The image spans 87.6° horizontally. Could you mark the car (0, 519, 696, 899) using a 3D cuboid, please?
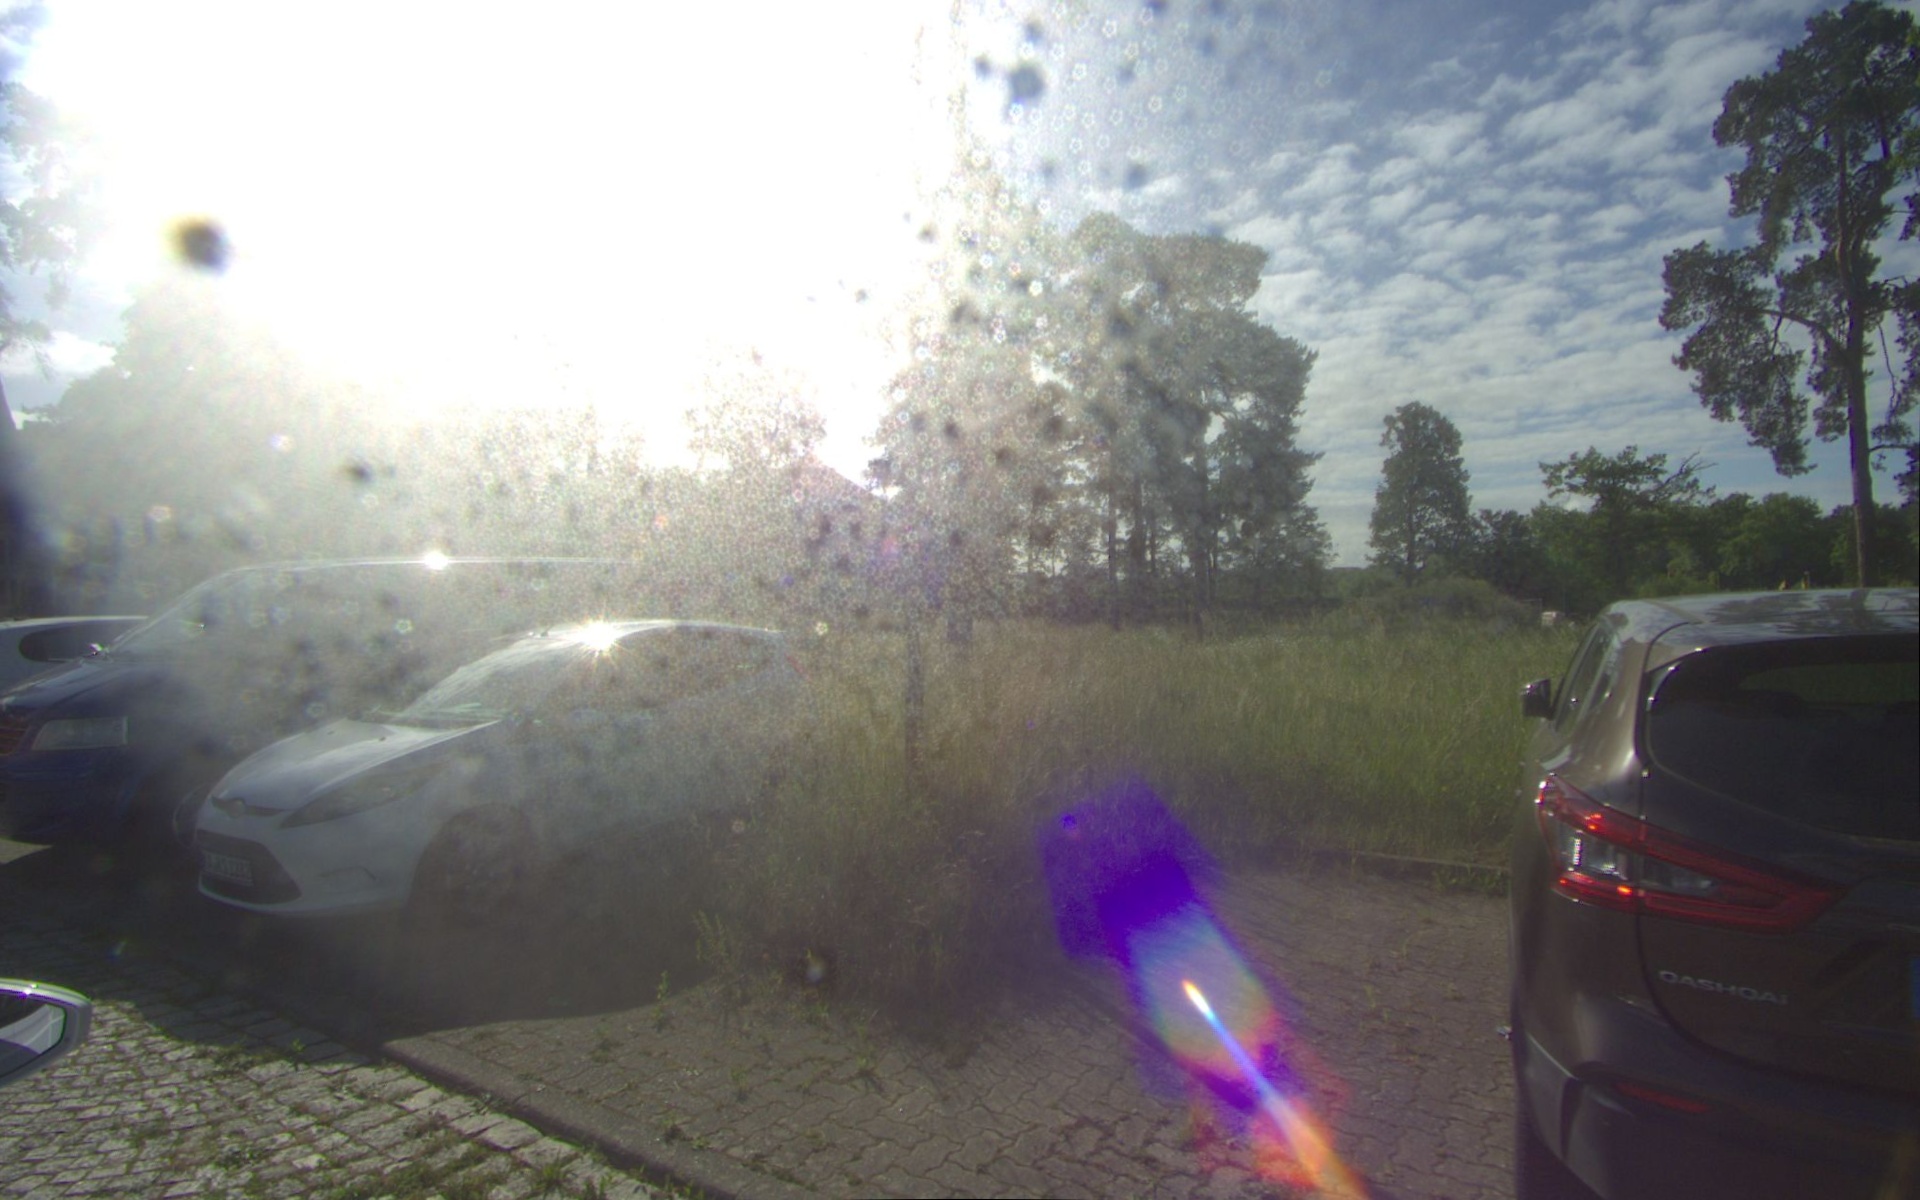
[{"bbox_3d":[-4.584,0.529,7.890,1.972,2.041,4.742,0,2,33],"label":"car"}]

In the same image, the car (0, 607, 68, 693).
[{"bbox_3d":[-17.723,0.874,16.683,1.631,1.468,3.971,0,0,32],"label":"car"}]

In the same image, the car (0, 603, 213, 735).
[{"bbox_3d":[-11.529,0.799,11.988,1.733,1.470,3.770,0,1,34],"label":"car"}]

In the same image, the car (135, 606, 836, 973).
[{"bbox_3d":[-2.545,0.822,6.273,1.586,1.486,3.713,0,1,30],"label":"car"}]

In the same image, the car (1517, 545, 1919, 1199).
[{"bbox_3d":[2.845,0.729,3.190,1.760,1.632,4.100,0,0,31],"label":"car"}]

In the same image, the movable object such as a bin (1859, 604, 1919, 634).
[{"bbox_3d":[65.267,1.290,69.798,2.087,2.040,5.722,0,0,23],"label":"movable object such as a bin"}]

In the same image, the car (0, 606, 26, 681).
[{"bbox_3d":[-19.782,0.847,17.757,1.763,1.407,4.390,0,1,31],"label":"car"}]

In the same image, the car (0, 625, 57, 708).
[{"bbox_3d":[-16.011,1.028,14.985,1.515,1.258,3.453,0,-1,33],"label":"car"}]

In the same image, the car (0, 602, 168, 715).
[{"bbox_3d":[-13.594,0.810,13.956,1.643,1.475,3.654,0,1,32],"label":"car"}]

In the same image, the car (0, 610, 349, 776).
[{"bbox_3d":[-8.889,0.878,10.758,1.611,1.512,3.637,0,0,33],"label":"car"}]
